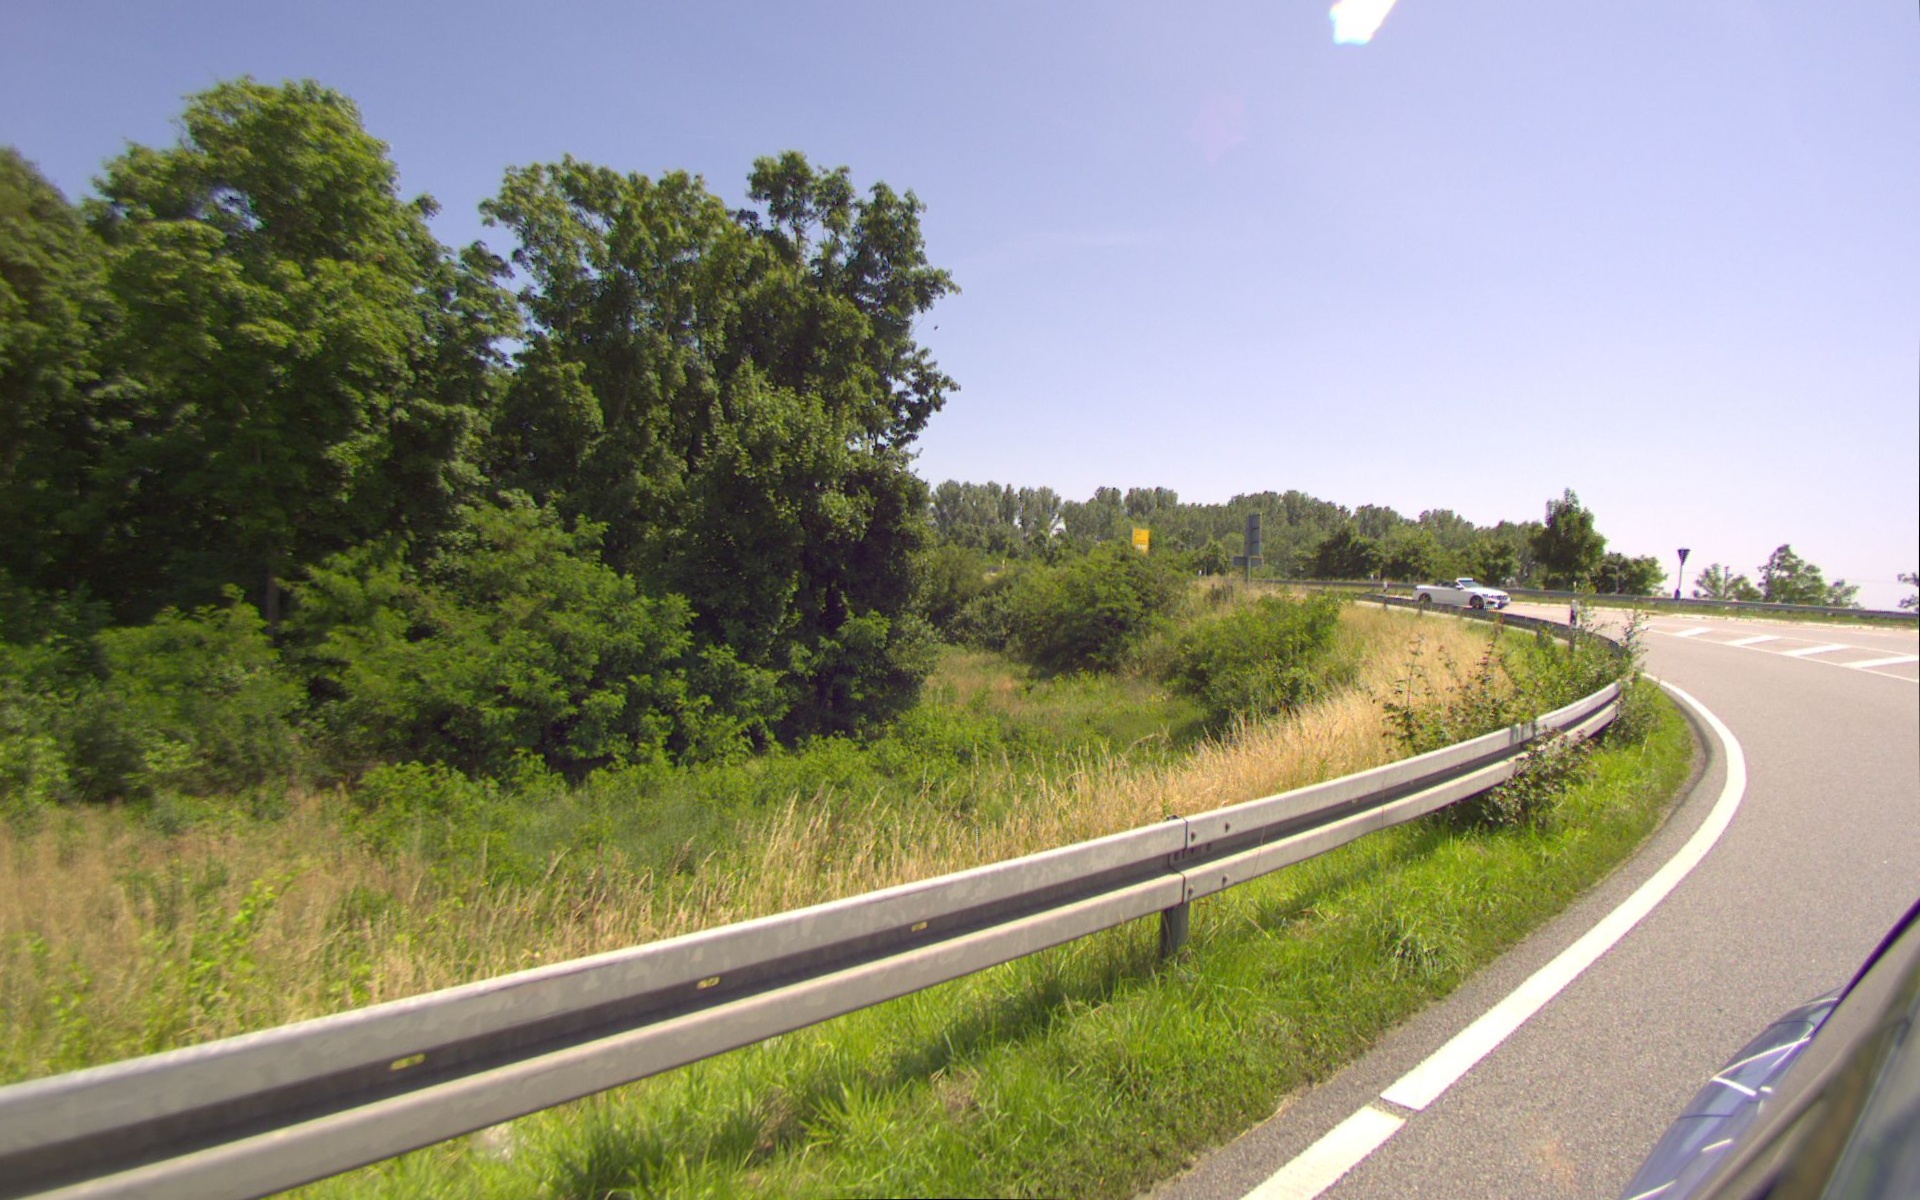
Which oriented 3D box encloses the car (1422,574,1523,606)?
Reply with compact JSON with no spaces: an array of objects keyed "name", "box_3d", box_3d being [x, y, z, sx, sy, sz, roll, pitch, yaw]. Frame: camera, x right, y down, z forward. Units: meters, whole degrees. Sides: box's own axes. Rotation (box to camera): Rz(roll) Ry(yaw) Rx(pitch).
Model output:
[{"name":"car","box_3d":[24.697,-0.487,48.946,1.777,1.433,4.117,0,1,-27]}]
